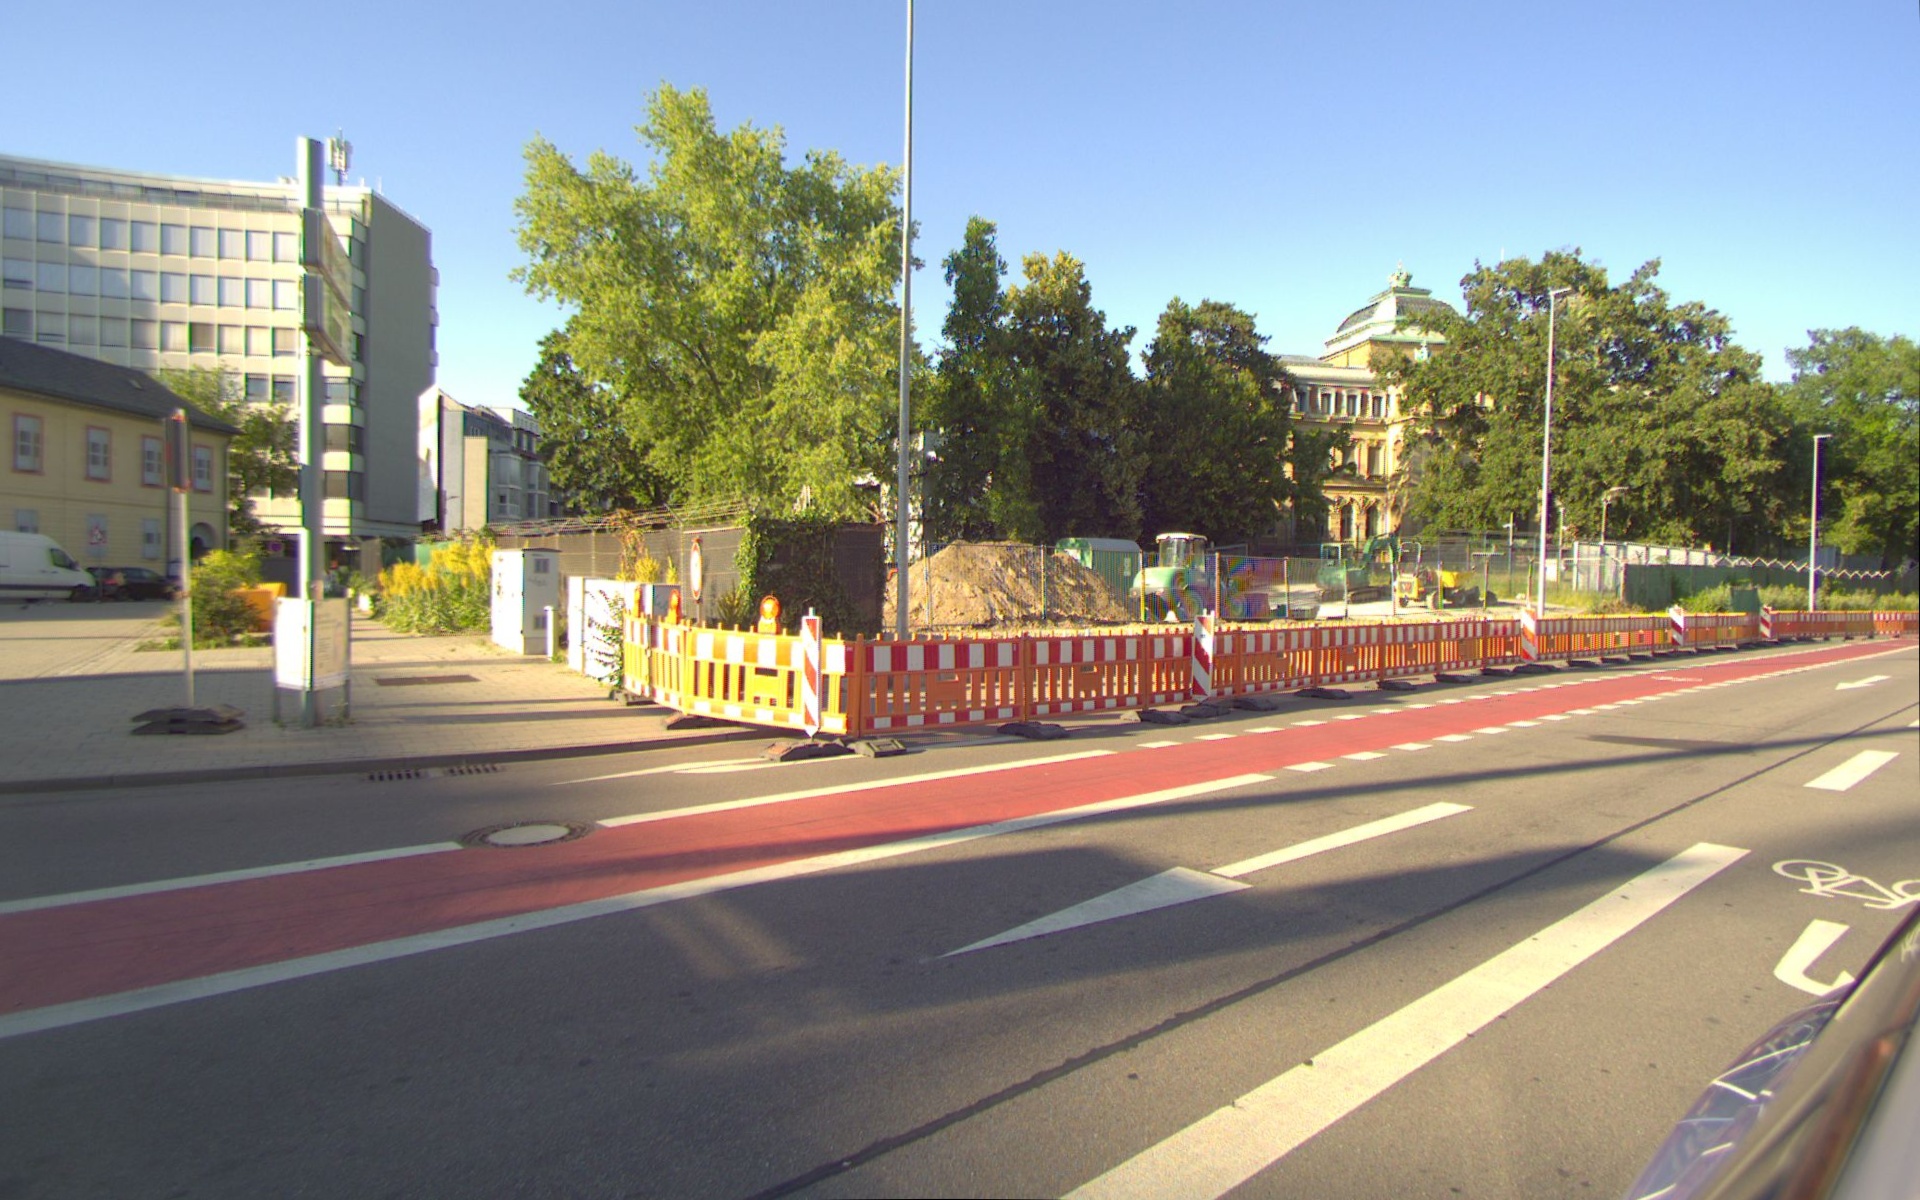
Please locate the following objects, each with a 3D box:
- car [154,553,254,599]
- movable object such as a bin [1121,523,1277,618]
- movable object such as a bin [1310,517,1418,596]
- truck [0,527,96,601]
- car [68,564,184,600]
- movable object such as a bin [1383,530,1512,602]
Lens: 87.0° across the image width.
[{"bbox_3d":[-34.395,-1.082,46.168,1.682,2.005,3.761,0,0,1],"label":"car"},{"bbox_3d":[7.440,-0.874,31.293,4.920,2.717,1.999,-1,0,-36],"label":"movable object such as a bin"},{"bbox_3d":[18.159,-1.872,45.374,5.274,3.371,1.999,-1,0,-36],"label":"movable object such as a bin"},{"bbox_3d":[-34.314,-1.251,36.054,2.258,2.581,5.638,0,0,1],"label":"truck"},{"bbox_3d":[-34.340,-0.729,41.813,1.682,1.382,3.761,0,0,1],"label":"car"},{"bbox_3d":[20.427,-1.367,42.355,5.750,2.852,2.002,-1,0,-30],"label":"movable object such as a bin"}]
